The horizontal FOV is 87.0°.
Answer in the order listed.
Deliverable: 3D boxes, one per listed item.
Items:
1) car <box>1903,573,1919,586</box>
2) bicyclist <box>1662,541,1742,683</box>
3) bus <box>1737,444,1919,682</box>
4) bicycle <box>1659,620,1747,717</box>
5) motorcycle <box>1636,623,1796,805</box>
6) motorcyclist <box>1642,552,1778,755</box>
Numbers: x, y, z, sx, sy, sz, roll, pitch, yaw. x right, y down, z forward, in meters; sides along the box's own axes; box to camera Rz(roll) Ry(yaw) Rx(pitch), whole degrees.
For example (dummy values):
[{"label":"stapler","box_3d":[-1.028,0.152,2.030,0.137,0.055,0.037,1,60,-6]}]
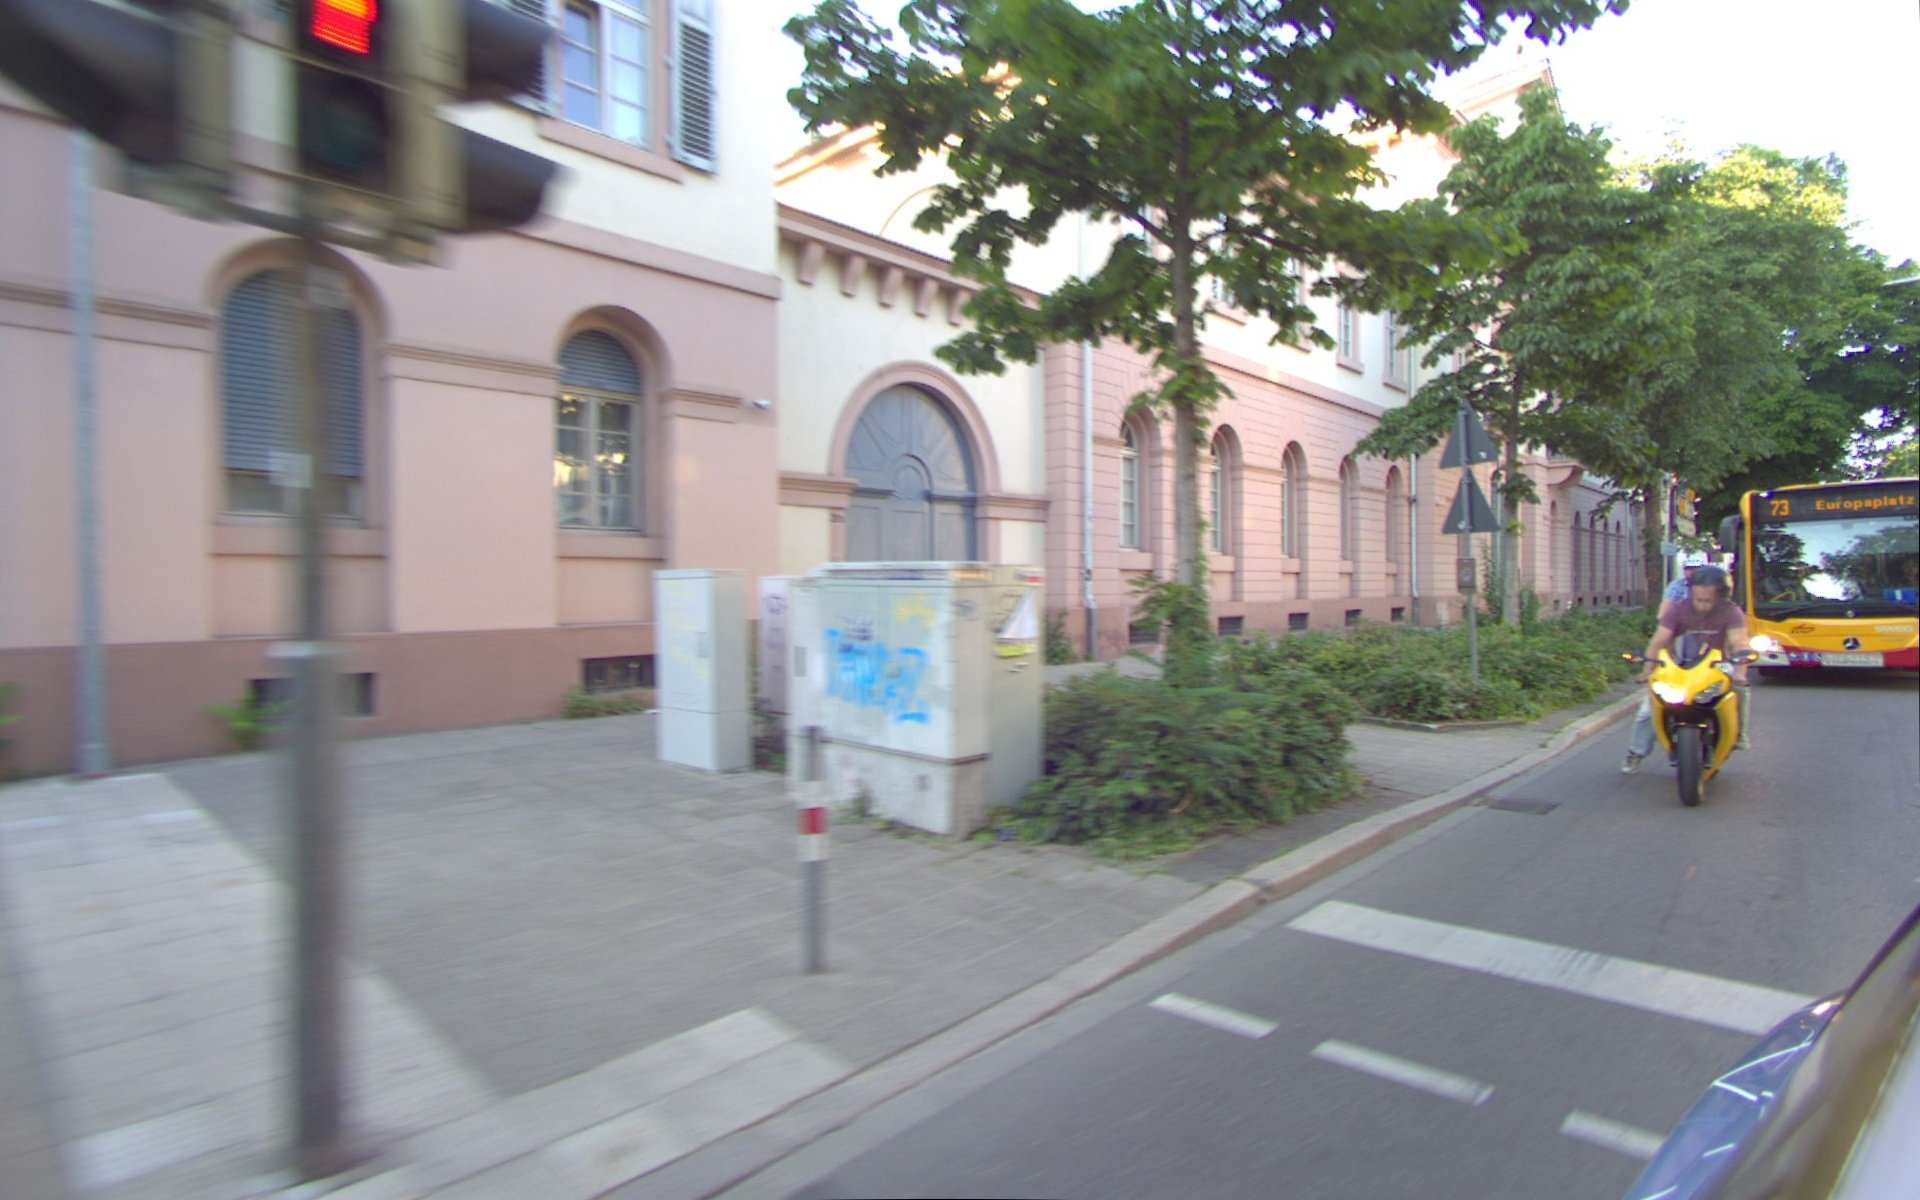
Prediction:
[{"label":"car","box_3d":[124.377,-2.691,132.055,1.838,1.730,4.095,1,1,42]},{"label":"bicyclist","box_3d":[8.646,0.141,11.794,0.635,1.581,0.806,-3,-2,41]},{"label":"bus","box_3d":[16.530,-0.618,18.509,2.659,3.235,11.718,-2,0,42]},{"label":"bicycle","box_3d":[8.682,0.759,11.795,0.635,0.996,1.952,-3,-1,41]},{"label":"motorcycle","box_3d":[5.613,0.768,7.620,0.732,1.073,1.944,-1,1,30]},{"label":"motorcyclist","box_3d":[5.622,0.368,7.633,0.732,1.429,0.719,-1,1,31]}]
